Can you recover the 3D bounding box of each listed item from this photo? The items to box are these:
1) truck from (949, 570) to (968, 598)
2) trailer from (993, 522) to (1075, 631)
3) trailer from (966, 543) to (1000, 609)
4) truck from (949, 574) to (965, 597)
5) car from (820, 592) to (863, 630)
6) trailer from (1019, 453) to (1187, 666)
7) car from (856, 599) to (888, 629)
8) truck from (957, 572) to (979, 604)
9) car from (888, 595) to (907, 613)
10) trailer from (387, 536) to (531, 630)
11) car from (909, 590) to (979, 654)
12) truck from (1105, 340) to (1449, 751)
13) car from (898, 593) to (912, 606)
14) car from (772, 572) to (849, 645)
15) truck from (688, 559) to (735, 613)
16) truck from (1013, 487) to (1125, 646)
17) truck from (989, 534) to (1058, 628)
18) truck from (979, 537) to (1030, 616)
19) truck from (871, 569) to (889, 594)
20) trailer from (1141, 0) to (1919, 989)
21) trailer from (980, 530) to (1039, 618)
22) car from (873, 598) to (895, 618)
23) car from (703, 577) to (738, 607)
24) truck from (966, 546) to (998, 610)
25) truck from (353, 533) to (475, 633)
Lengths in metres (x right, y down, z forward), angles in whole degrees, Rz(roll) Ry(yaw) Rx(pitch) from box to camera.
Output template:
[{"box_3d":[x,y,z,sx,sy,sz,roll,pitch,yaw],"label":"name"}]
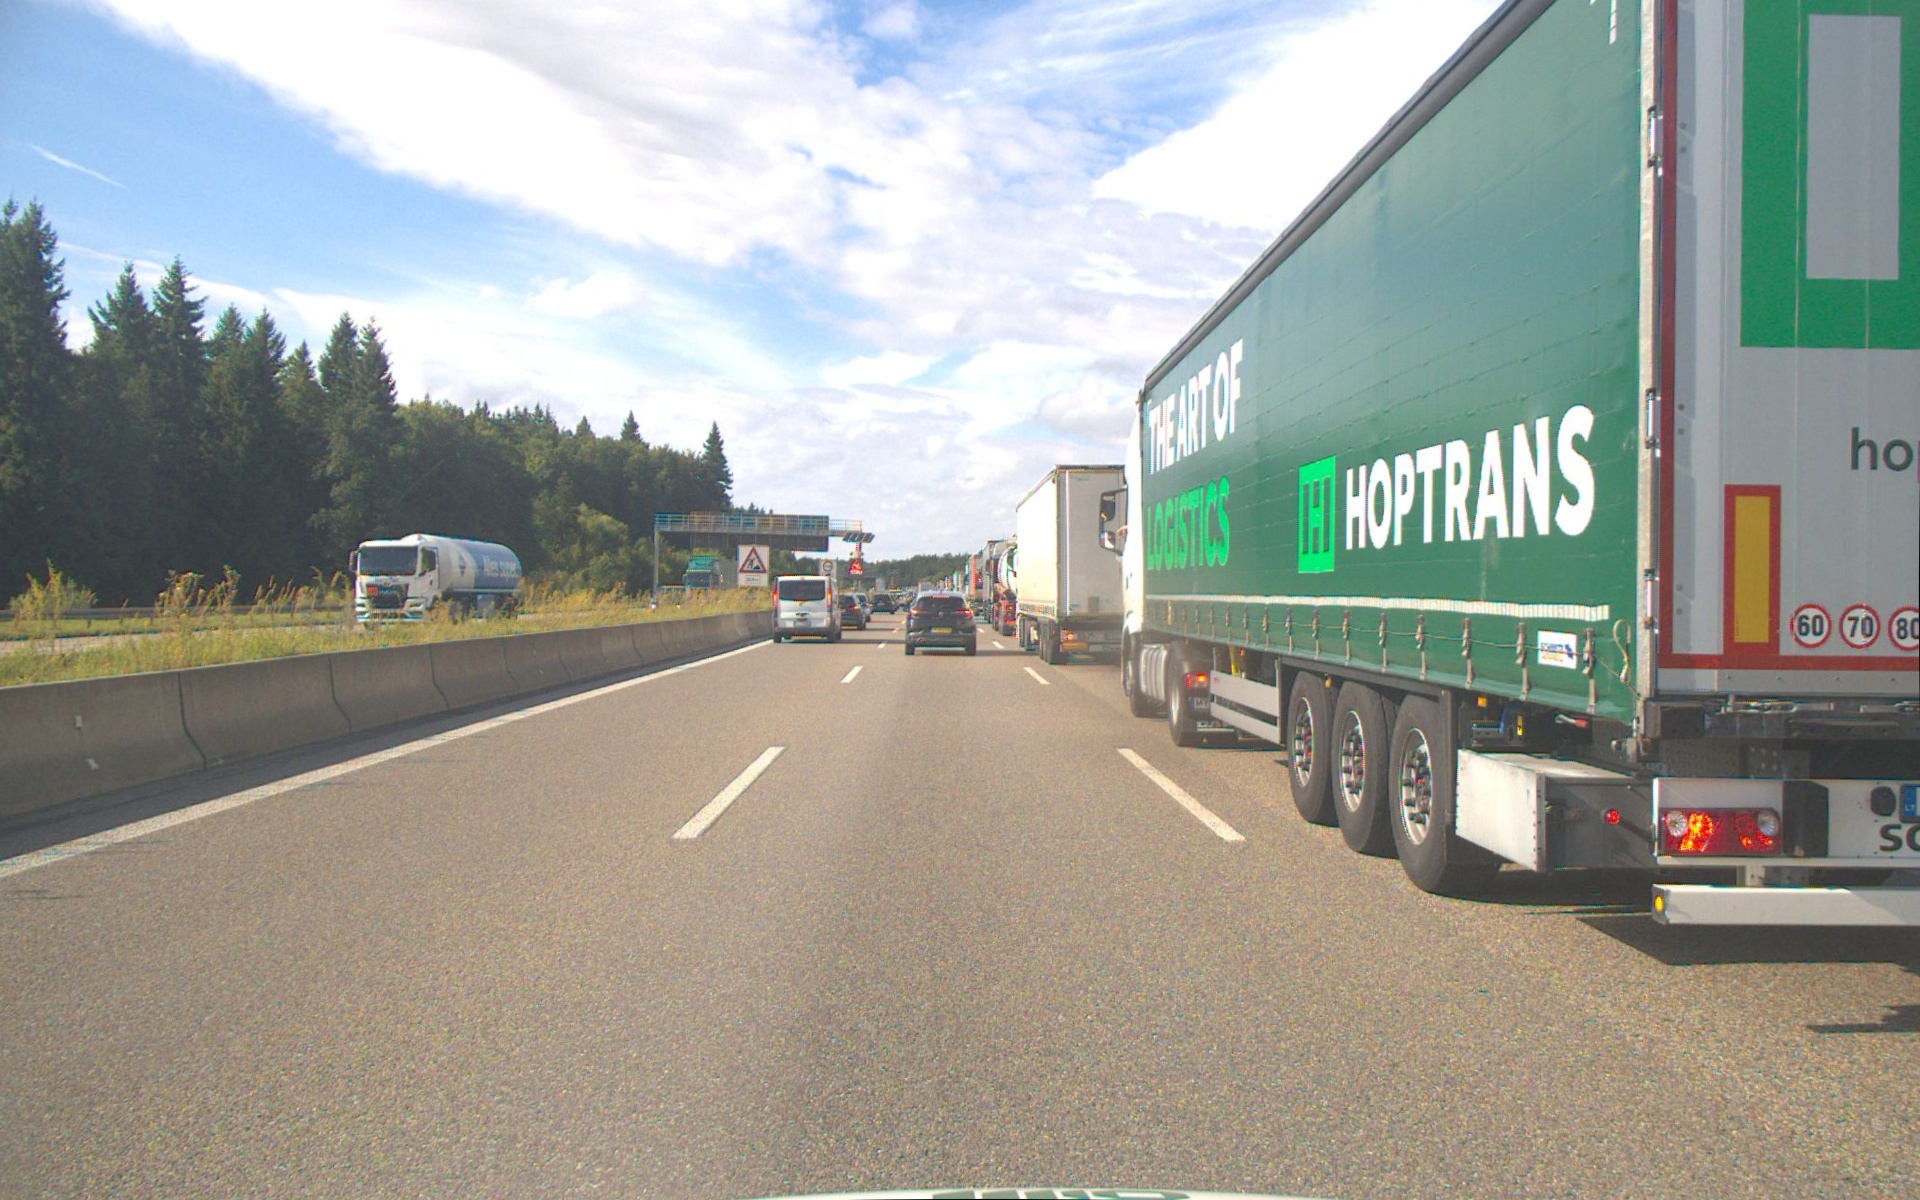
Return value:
[{"box_3d":[-0.214,-1.826,189.444,1.953,3.105,4.981,3,0,0],"label":"truck"},{"box_3d":[2.627,-0.787,61.672,2.489,3.718,10.625,0,0,-1],"label":"trailer"},{"box_3d":[1.527,-1.558,112.466,2.106,4.333,8.439,1,0,0],"label":"trailer"},{"box_3d":[-0.428,-2.066,233.241,1.953,3.105,4.981,3,0,0],"label":"truck"},{"box_3d":[-4.771,0.446,67.060,1.470,1.420,3.475,3,0,-1],"label":"car"},{"box_3d":[3.032,-0.825,38.767,2.648,4.153,12.942,0,0,-1],"label":"trailer"},{"box_3d":[-4.519,0.692,85.235,1.470,1.420,3.475,4,0,-1],"label":"car"},{"box_3d":[0.796,-1.170,162.454,1.953,2.982,4.981,3,0,0],"label":"truck"},{"box_3d":[-5.084,0.326,134.898,1.406,1.333,3.532,4,0,-1],"label":"car"},{"box_3d":[-19.234,-0.618,64.309,2.274,3.342,10.875,0,0,0],"label":"trailer"},{"box_3d":[-0.421,0.548,41.985,1.662,1.509,4.159,1,0,-1],"label":"car"},{"box_3d":[3.369,-0.519,19.450,2.593,3.936,6.995,1,0,-1],"label":"truck"},{"box_3d":[-5.826,-0.034,174.639,1.333,1.323,3.084,4,0,-1],"label":"car"},{"box_3d":[-4.589,0.256,51.452,1.894,2.013,5.097,3,0,-1],"label":"car"},{"box_3d":[-20.898,-1.133,139.707,2.656,4.318,10.341,0,0,-2],"label":"truck"},{"box_3d":[2.934,-0.860,46.173,2.653,4.131,6.360,0,0,-1],"label":"truck"},{"box_3d":[2.540,-0.734,67.787,2.482,3.646,6.728,0,0,-1],"label":"truck"},{"box_3d":[2.467,-1.264,93.255,2.729,4.321,6.459,0,0,0],"label":"truck"},{"box_3d":[-12.220,-2.836,254.086,2.297,3.657,6.304,3,0,-1],"label":"truck"},{"box_3d":[3.464,-0.667,12.190,2.607,3.936,13.392,1,0,-1],"label":"trailer"},{"box_3d":[2.492,-1.277,86.470,2.745,4.318,11.056,0,0,0],"label":"trailer"},{"box_3d":[-5.450,0.592,118.379,1.406,1.333,3.532,4,0,-1],"label":"car"},{"box_3d":[-16.346,-0.555,113.066,1.724,1.914,3.999,3,0,-1],"label":"car"},{"box_3d":[1.533,-1.531,116.921,2.090,4.357,6.338,1,0,0],"label":"truck"},{"box_3d":[-19.216,-0.590,58.554,2.270,3.331,6.104,0,0,0],"label":"truck"}]
